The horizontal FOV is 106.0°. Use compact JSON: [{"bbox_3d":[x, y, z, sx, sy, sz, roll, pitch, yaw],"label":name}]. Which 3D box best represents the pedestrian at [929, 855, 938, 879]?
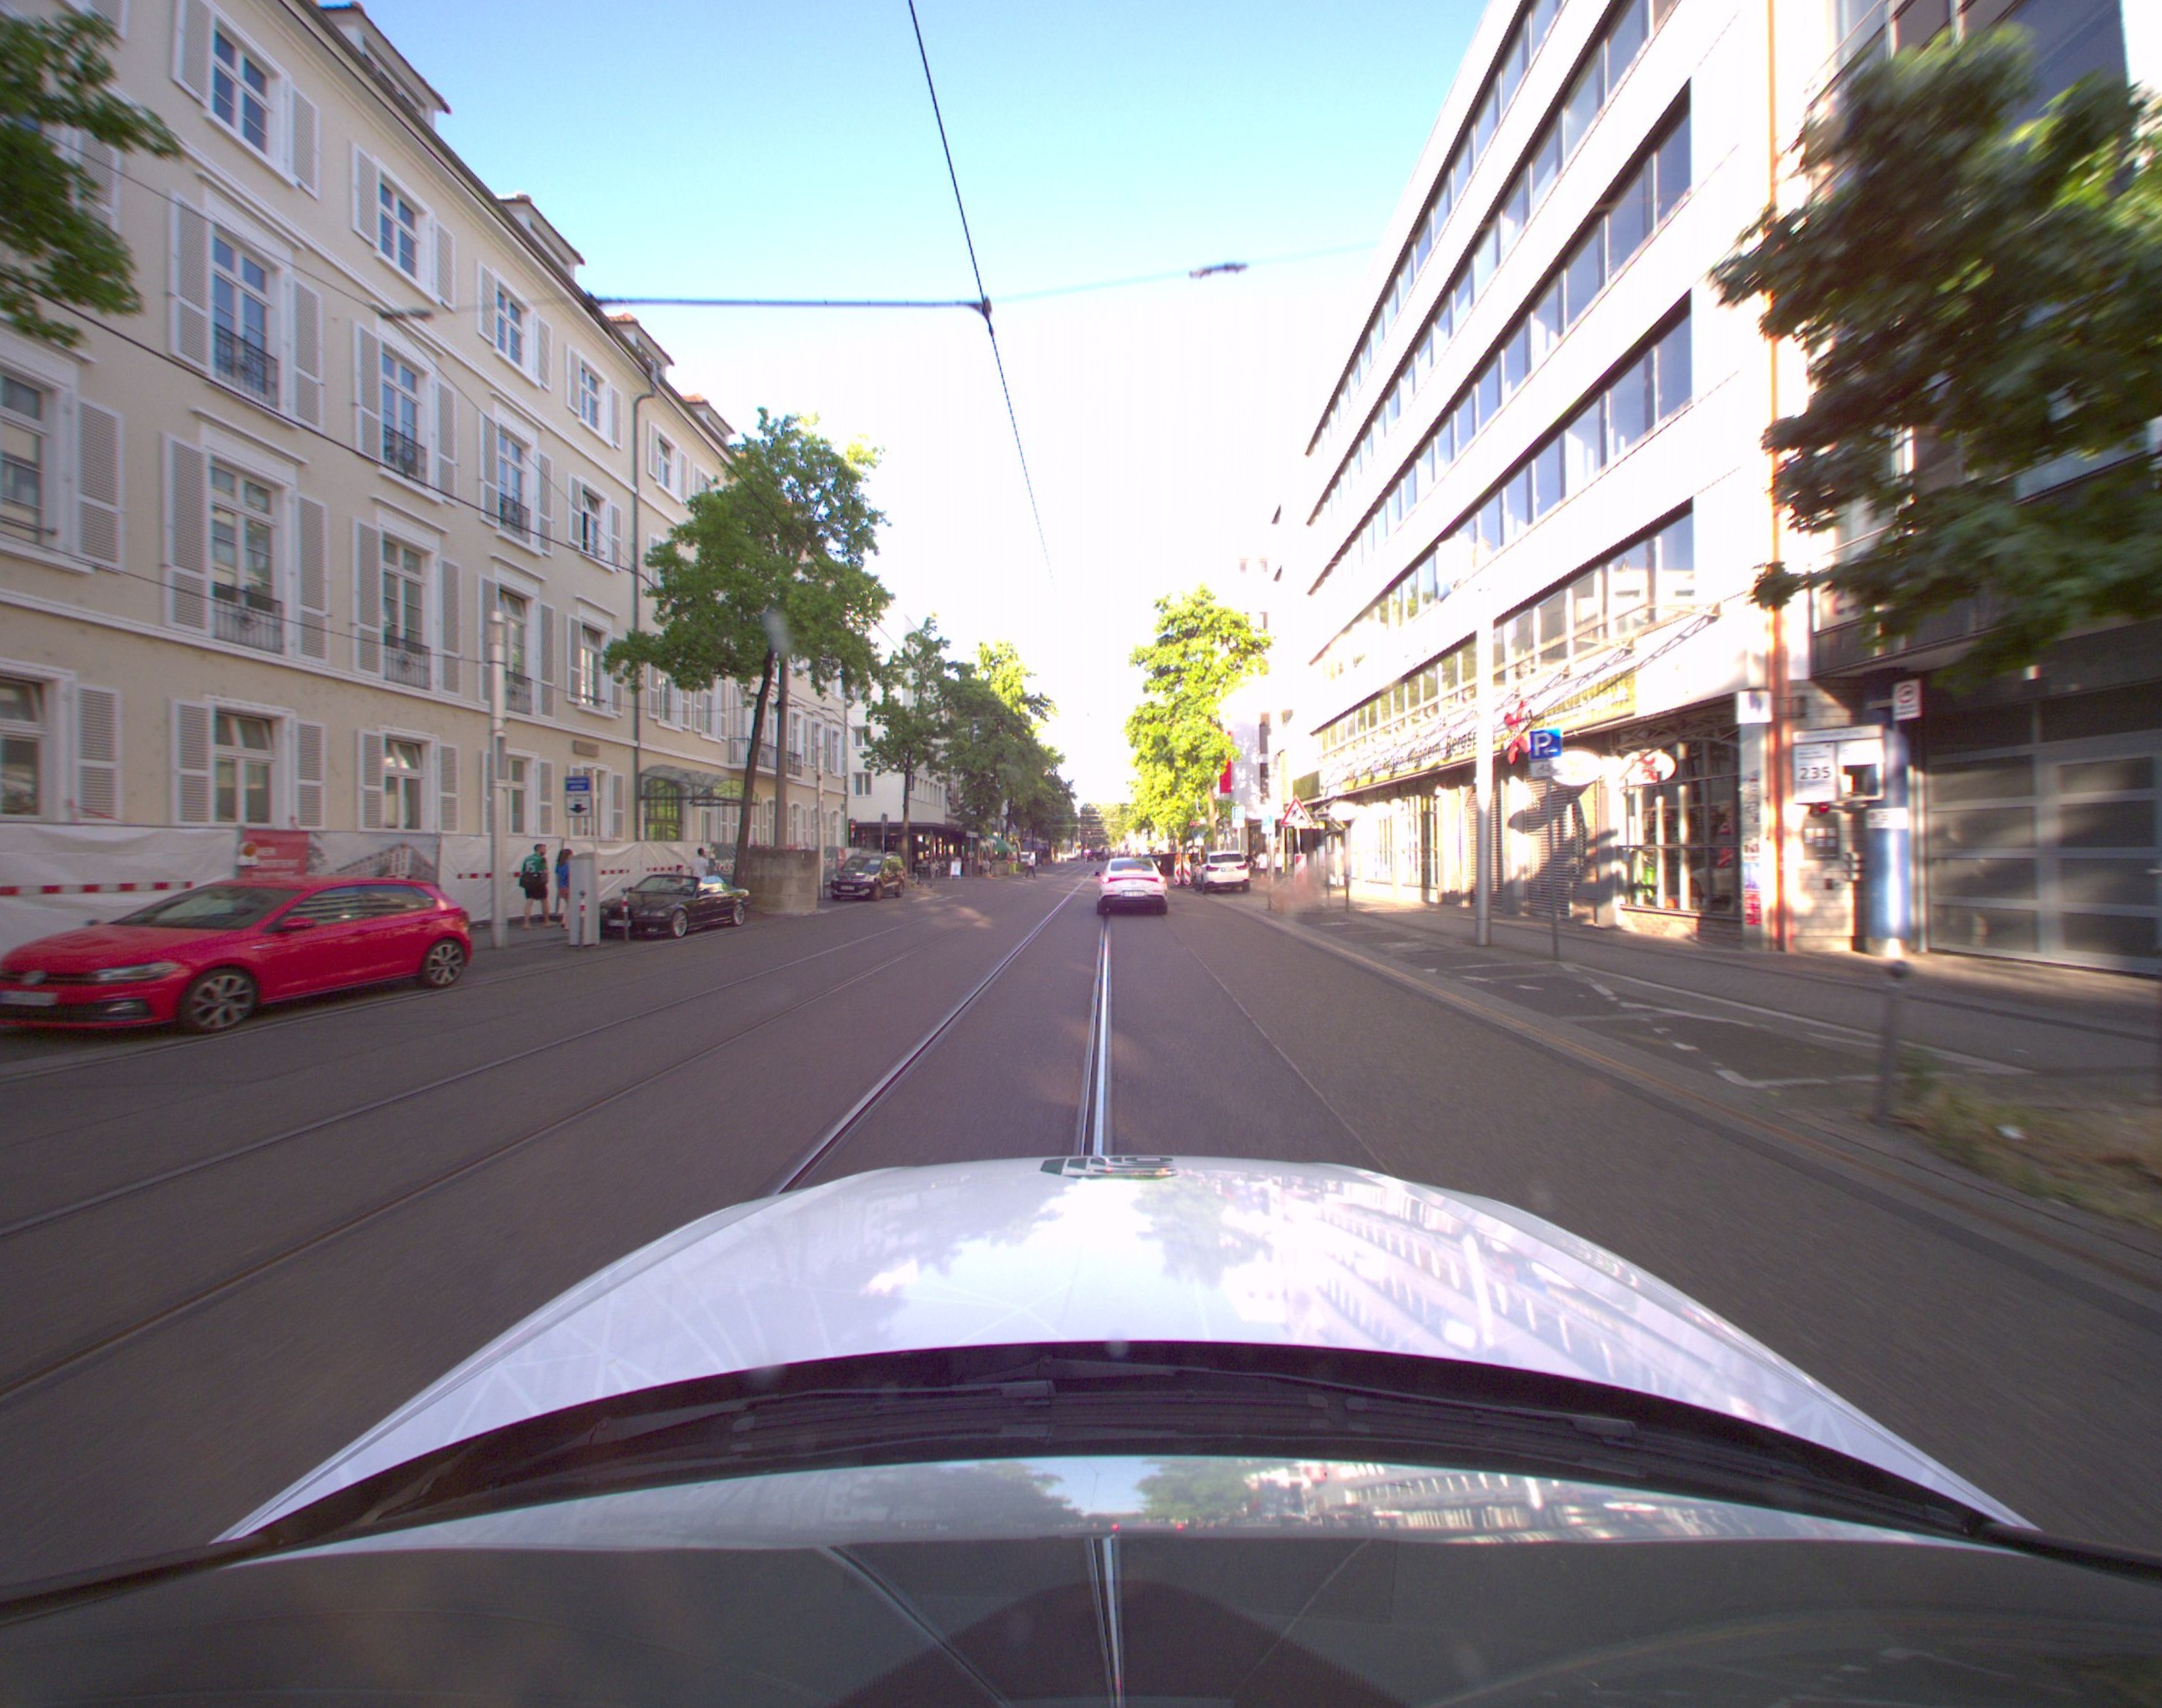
[{"bbox_3d":[-10.145,0.910,56.010,0.515,1.653,0.650,-1,0,1],"label":"pedestrian"}]

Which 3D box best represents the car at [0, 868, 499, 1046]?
[{"bbox_3d":[-9.094,0.947,9.291,1.681,1.499,4.237,0,0,3],"label":"car"}]

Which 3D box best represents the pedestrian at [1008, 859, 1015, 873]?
[{"bbox_3d":[-6.110,1.083,71.990,0.515,1.234,0.651,-1,0,3],"label":"pedestrian"}]

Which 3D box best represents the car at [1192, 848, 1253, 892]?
[{"bbox_3d":[5.911,0.641,34.535,1.986,1.728,4.243,-1,0,2],"label":"car"}]

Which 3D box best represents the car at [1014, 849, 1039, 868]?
[{"bbox_3d":[-6.235,0.490,93.355,1.981,2.013,4.011,-1,0,10],"label":"car"}]

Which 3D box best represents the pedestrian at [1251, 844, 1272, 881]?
[{"bbox_3d":[8.945,0.411,40.402,0.799,1.774,0.680,-1,0,-10],"label":"pedestrian"}]

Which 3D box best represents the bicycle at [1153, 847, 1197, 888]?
[{"bbox_3d":[4.905,0.688,42.987,1.986,2.014,4.001,-1,-1,2],"label":"bicycle"}]

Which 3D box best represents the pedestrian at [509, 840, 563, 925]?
[{"bbox_3d":[-11.817,0.605,17.674,0.706,1.806,0.675,-1,0,-4],"label":"pedestrian"}]

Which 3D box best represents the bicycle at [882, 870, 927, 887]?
[{"bbox_3d":[-8.917,1.242,41.174,2.232,0.830,0.721,-1,0,24],"label":"bicycle"}]

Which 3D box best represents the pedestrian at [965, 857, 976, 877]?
[{"bbox_3d":[-8.200,0.995,60.599,0.564,1.464,0.653,-1,0,21],"label":"pedestrian"}]

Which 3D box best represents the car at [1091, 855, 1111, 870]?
[{"bbox_3d":[4.227,1.749,171.468,4.024,3.114,8.434,-1,0,2],"label":"car"}]

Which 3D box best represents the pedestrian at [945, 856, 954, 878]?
[{"bbox_3d":[-9.821,0.938,60.927,0.515,1.616,0.650,-1,0,1],"label":"pedestrian"}]

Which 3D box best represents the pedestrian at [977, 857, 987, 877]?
[{"bbox_3d":[-7.545,0.978,62.069,0.519,1.478,0.644,-3,-1,-26],"label":"pedestrian"}]

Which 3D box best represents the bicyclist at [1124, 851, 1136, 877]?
[{"bbox_3d":[3.172,0.650,52.781,0.722,1.702,0.811,-1,-1,2],"label":"bicyclist"}]

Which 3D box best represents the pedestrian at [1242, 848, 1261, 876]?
[{"bbox_3d":[11.248,0.521,53.691,0.920,1.774,0.870,-1,0,-13],"label":"pedestrian"}]

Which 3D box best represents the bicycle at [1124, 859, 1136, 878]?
[{"bbox_3d":[3.177,0.901,52.865,0.737,1.188,2.162,-1,-1,3],"label":"bicycle"}]

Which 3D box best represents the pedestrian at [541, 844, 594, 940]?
[{"bbox_3d":[-11.040,0.806,17.527,0.705,2.004,0.675,-1,0,-2],"label":"pedestrian"}]

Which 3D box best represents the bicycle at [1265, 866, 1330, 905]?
[{"bbox_3d":[6.201,0.910,23.407,1.714,1.062,0.581,-1,0,5],"label":"bicycle"}]

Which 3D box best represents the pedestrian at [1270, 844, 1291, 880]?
[{"bbox_3d":[9.858,0.392,40.313,0.799,1.774,0.680,-1,0,-10],"label":"pedestrian"}]

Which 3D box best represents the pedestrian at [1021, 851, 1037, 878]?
[{"bbox_3d":[-3.415,0.703,53.687,0.920,1.774,0.870,-1,0,-13],"label":"pedestrian"}]

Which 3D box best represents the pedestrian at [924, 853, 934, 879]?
[{"bbox_3d":[-10.942,0.867,58.599,0.515,1.855,0.650,-1,0,1],"label":"pedestrian"}]

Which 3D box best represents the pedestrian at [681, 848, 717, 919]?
[{"bbox_3d":[-11.093,0.848,23.691,0.705,2.004,0.675,-1,0,-2],"label":"pedestrian"}]

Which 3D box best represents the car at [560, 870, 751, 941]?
[{"bbox_3d":[-9.106,1.050,17.870,1.986,1.292,4.002,0,0,2],"label":"car"}]

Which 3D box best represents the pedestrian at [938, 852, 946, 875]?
[{"bbox_3d":[-10.809,0.762,63.399,0.516,1.781,0.608,-1,0,-5],"label":"pedestrian"}]

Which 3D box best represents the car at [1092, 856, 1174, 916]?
[{"bbox_3d":[1.331,0.810,22.256,1.863,1.469,4.040,-1,0,-2],"label":"car"}]

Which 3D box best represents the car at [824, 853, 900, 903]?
[{"bbox_3d":[-8.239,0.872,30.913,1.543,1.796,3.176,-1,0,10],"label":"car"}]

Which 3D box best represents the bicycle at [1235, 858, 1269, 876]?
[{"bbox_3d":[11.252,0.849,53.673,2.050,1.135,0.870,-1,0,-13],"label":"bicycle"}]
